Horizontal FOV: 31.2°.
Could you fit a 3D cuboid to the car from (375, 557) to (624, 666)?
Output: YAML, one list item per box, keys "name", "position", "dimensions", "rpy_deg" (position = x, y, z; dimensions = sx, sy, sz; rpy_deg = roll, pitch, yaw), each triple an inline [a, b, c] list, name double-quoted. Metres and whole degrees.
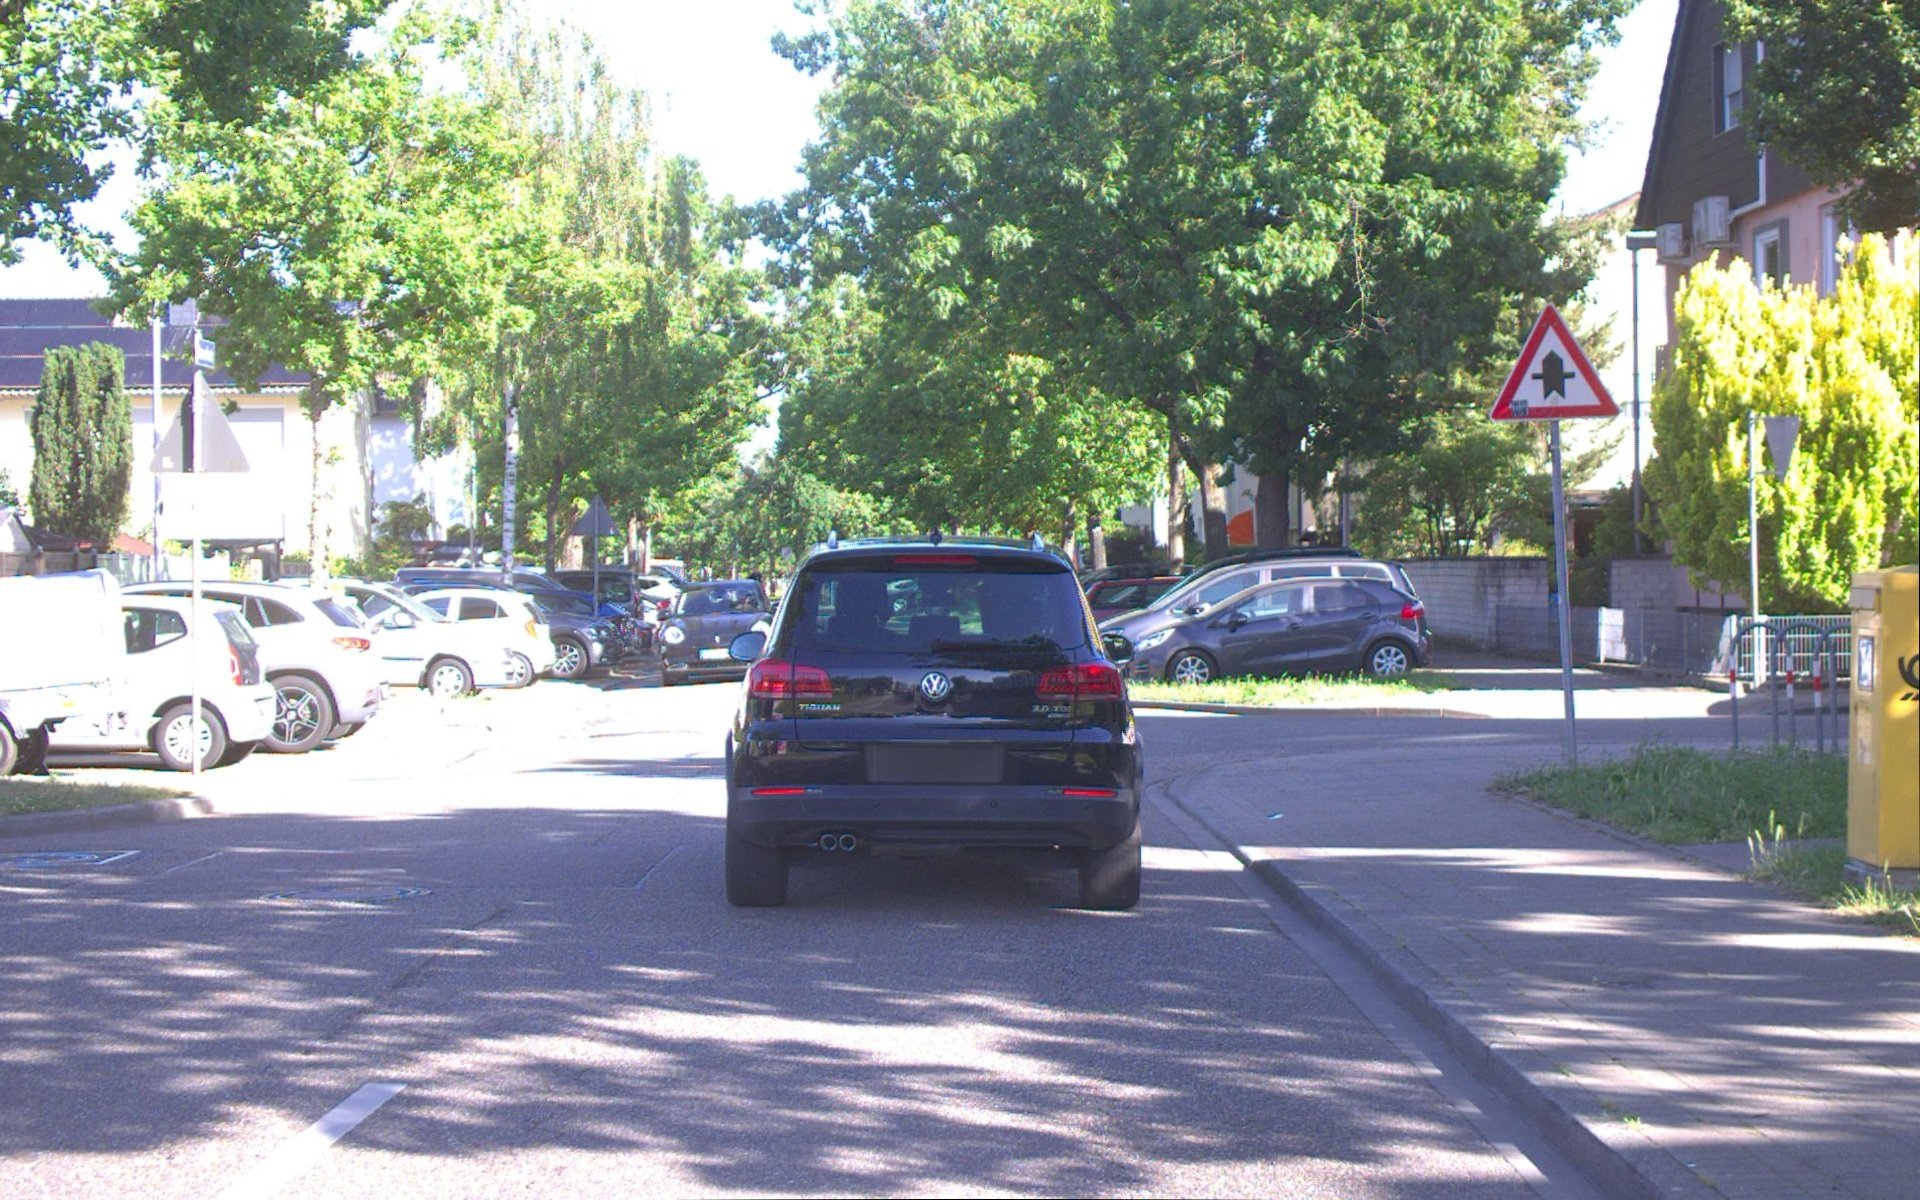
- name: "car"
  position: [-7.624, 0.174, 57.179]
  dimensions: [3.986, 1.725, 2.000]
  rpy_deg: [-1, 0, -5]

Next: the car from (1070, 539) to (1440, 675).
- name: "car"
  position: [4.308, 0.086, 50.843]
  dimensions: [5.259, 1.939, 2.000]
  rpy_deg: [0, 0, -1]

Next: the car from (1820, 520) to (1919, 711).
- name: "car"
  position: [11.512, 0.132, 34.354]
  dimensions: [5.239, 1.841, 2.072]
  rpy_deg: [-1, -1, -4]

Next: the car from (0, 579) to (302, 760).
- name: "car"
  position: [-7.610, 0.586, 29.593]
  dimensions: [3.549, 1.472, 1.808]
  rpy_deg: [-1, 0, -1]

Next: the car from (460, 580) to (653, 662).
- name: "car"
  position: [-8.695, 0.460, 74.248]
  dimensions: [3.986, 1.714, 1.821]
  rpy_deg: [0, -1, -2]

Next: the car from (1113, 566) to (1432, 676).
- name: "car"
  position: [4.075, 0.263, 45.302]
  dimensions: [3.986, 1.364, 1.847]
  rpy_deg: [-1, 0, -1]

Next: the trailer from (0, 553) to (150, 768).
- name: "trailer"
  position: [-8.042, 0.480, 27.223]
  dimensions: [2.966, 1.650, 1.397]
  rpy_deg: [-1, 0, -5]

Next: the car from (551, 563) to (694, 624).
- name: "car"
  position: [-9.807, -0.199, 99.701]
  dimensions: [3.986, 1.678, 1.924]
  rpy_deg: [-1, 0, -9]

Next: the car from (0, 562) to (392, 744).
- name: "car"
  position: [-7.180, 0.474, 32.278]
  dimensions: [3.548, 1.608, 1.853]
  rpy_deg: [-1, 0, -7]

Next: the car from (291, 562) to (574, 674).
- name: "car"
  position: [-7.998, 0.261, 52.412]
  dimensions: [3.987, 1.634, 2.000]
  rpy_deg: [0, 1, 0]

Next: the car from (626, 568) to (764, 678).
- name: "car"
  position: [-4.037, 0.328, 52.919]
  dimensions: [1.909, 1.550, 4.000]
  rpy_deg: [-2, 1, -2]

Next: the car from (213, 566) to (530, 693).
- name: "car"
  position: [-8.016, 0.386, 47.071]
  dimensions: [3.987, 1.664, 2.000]
  rpy_deg: [-1, 1, 0]

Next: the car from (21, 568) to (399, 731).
- name: "car"
  position: [-7.563, 0.485, 34.961]
  dimensions: [3.548, 1.552, 1.853]
  rpy_deg: [-1, 0, -6]

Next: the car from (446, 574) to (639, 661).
- name: "car"
  position: [-7.483, 0.300, 61.775]
  dimensions: [3.370, 1.485, 1.644]
  rpy_deg: [-1, 0, -5]

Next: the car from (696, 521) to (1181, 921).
- name: "car"
  position: [-0.258, 0.481, 16.609]
  dimensions: [1.929, 1.649, 4.515]
  rpy_deg: [1, 1, -5]

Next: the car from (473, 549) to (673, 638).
- name: "car"
  position: [-8.618, -0.148, 76.731]
  dimensions: [4.389, 1.932, 1.579]
  rpy_deg: [0, -1, -5]

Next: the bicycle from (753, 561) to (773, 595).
- name: "bicycle"
  position: [-7.128, -0.783, 124.390]
  dimensions: [0.637, 1.159, 1.741]
  rpy_deg: [-1, -1, -5]

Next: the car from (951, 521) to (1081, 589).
- name: "car"
  position: [1.732, -1.404, 107.761]
  dimensions: [3.987, 2.007, 2.000]
  rpy_deg: [-1, -2, -1]

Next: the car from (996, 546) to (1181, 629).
- name: "car"
  position: [2.825, -0.286, 76.241]
  dimensions: [3.987, 1.769, 1.790]
  rpy_deg: [-1, 1, -1]

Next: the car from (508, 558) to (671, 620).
- name: "car"
  position: [-9.536, -0.271, 88.635]
  dimensions: [3.987, 1.493, 2.000]
  rpy_deg: [-1, -1, -1]

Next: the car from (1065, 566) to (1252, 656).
- name: "car"
  position: [3.434, 0.181, 59.644]
  dimensions: [3.043, 1.502, 1.247]
  rpy_deg: [-1, 0, -7]

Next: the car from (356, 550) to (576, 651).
- name: "car"
  position: [-9.261, 0.000, 64.609]
  dimensions: [3.986, 1.830, 1.638]
  rpy_deg: [-1, 0, -5]

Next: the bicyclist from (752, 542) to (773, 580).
- name: "bicyclist"
  position: [-7.151, -1.423, 124.462]
  dimensions: [0.700, 1.341, 0.506]
  rpy_deg: [-1, -2, -5]

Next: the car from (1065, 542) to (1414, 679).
- name: "car"
  position: [3.843, 0.136, 47.795]
  dimensions: [4.632, 1.803, 1.824]
  rpy_deg: [-1, 0, -1]
